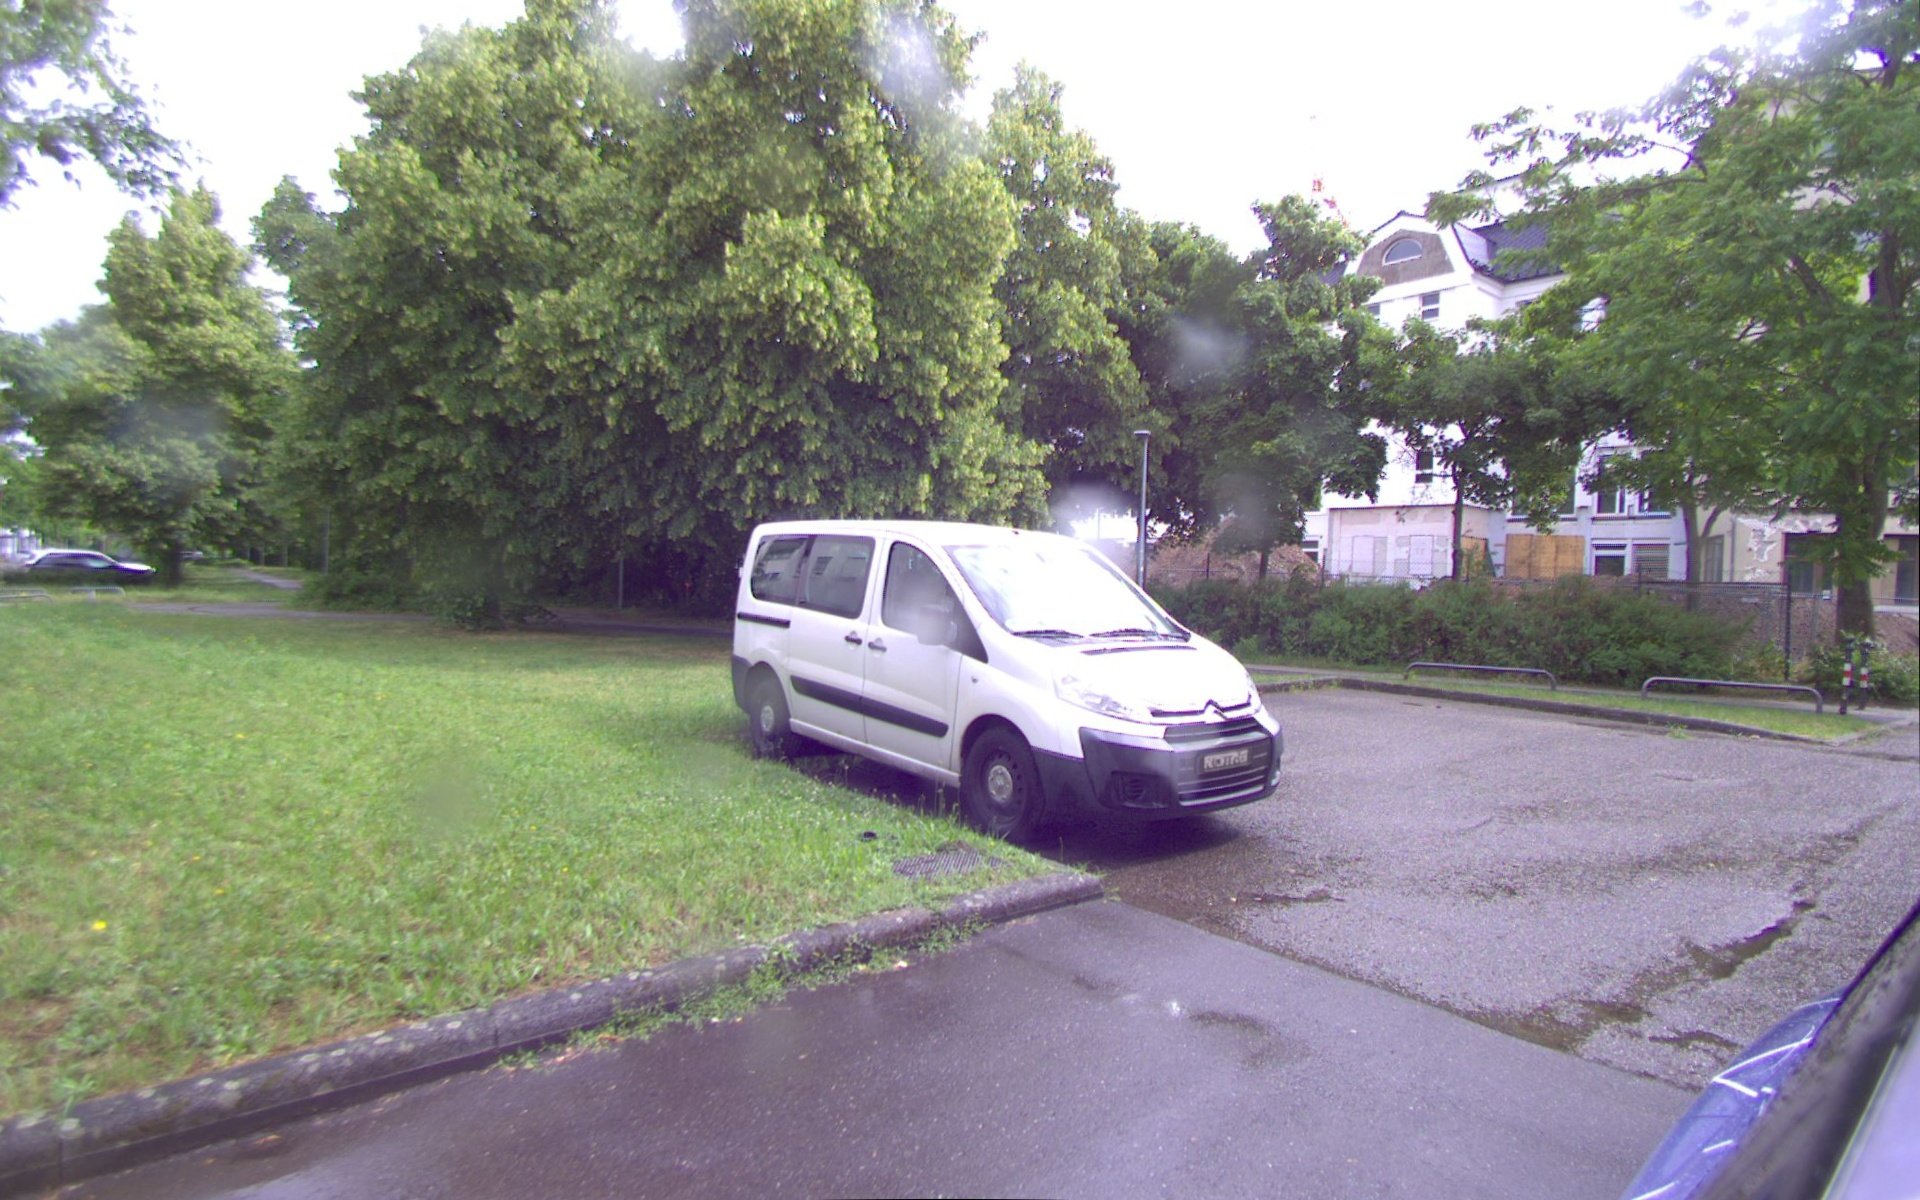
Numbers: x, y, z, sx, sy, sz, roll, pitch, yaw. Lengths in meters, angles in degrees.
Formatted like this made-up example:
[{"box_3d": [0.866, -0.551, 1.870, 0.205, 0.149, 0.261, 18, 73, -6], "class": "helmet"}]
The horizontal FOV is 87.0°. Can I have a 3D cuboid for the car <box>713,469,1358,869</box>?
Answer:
[{"box_3d": [0.137, 0.274, 7.514, 2.061, 1.949, 4.887, 0, 1, -37], "class": "car"}]

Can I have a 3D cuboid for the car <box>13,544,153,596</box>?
[{"box_3d": [-39.091, -1.349, 45.293, 4.499, 1.964, 2.052, 4, 1, -37], "class": "car"}]
